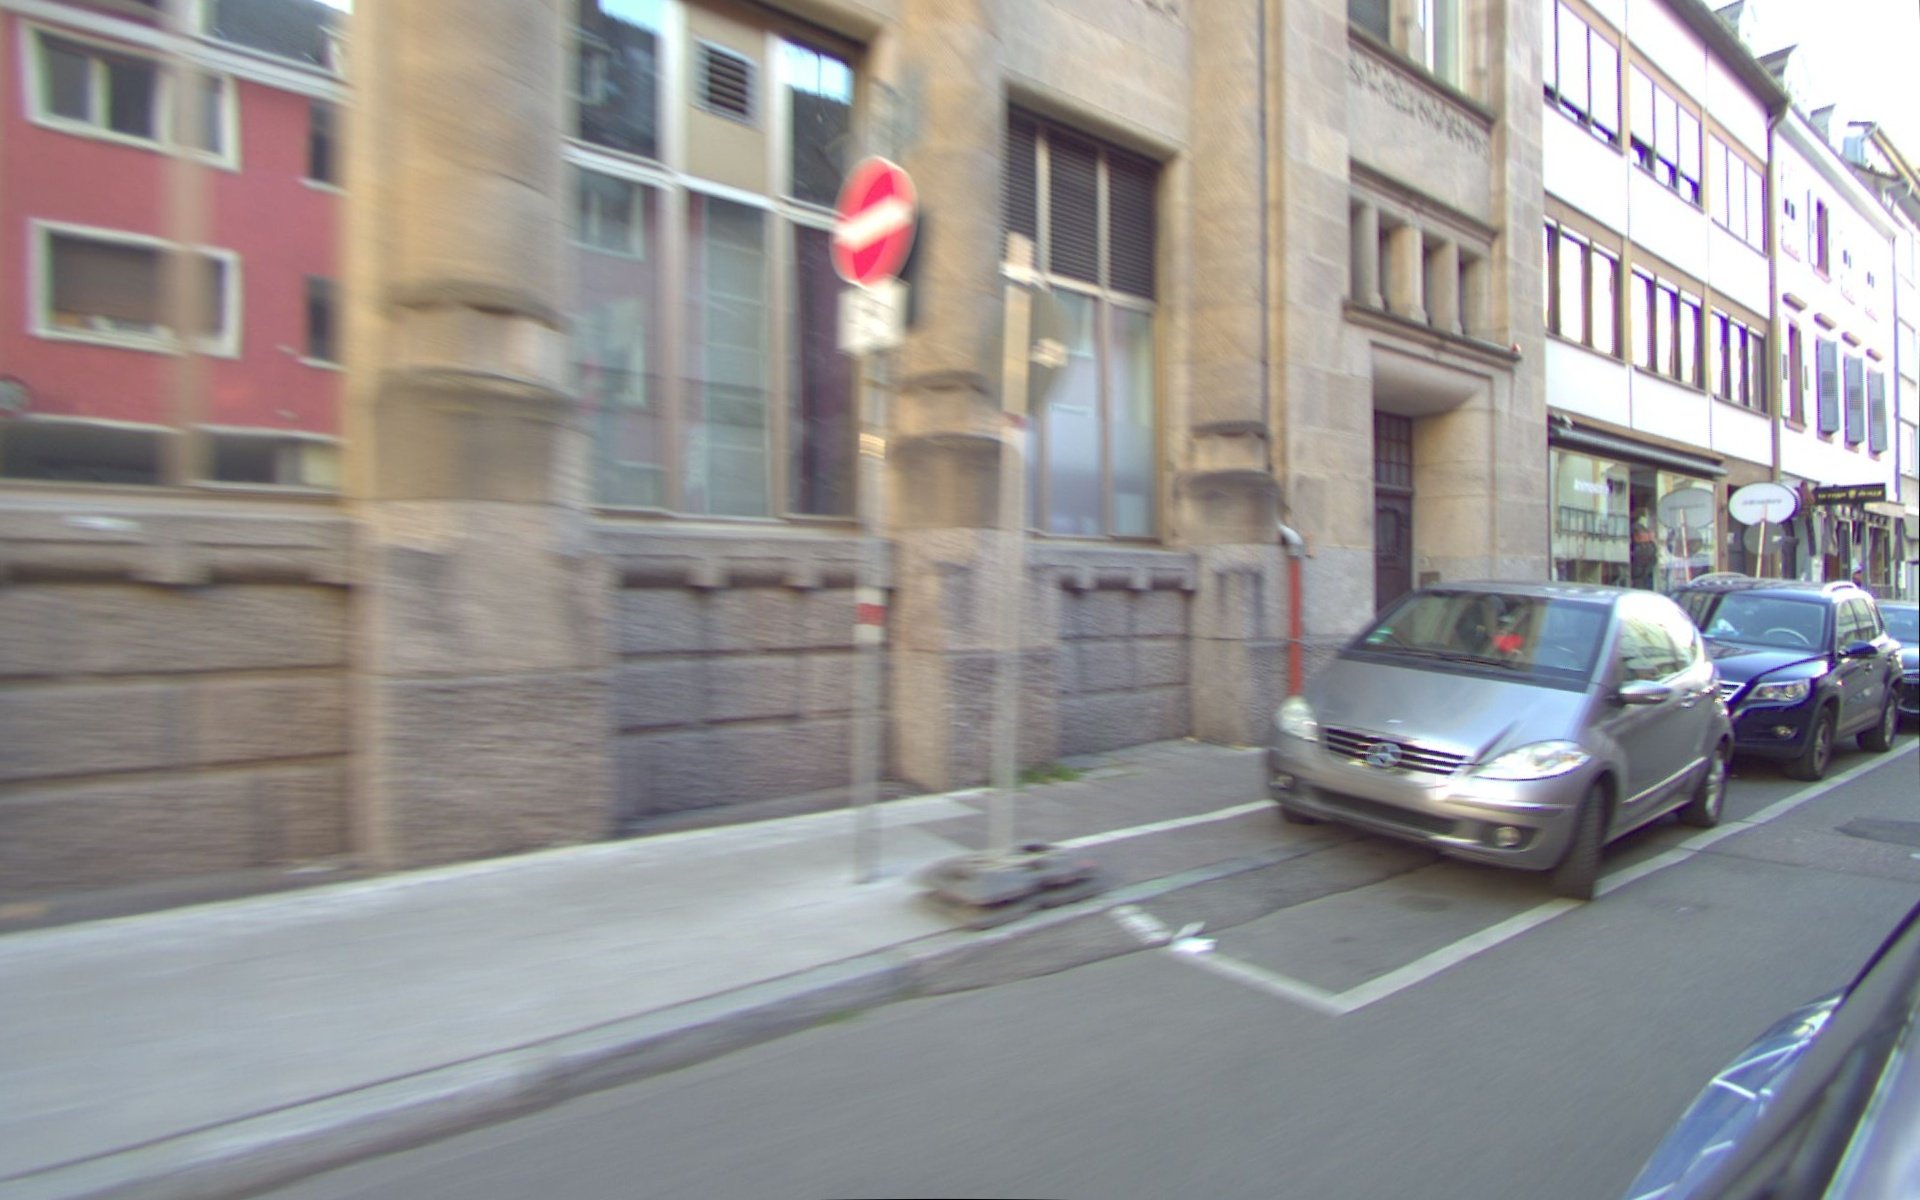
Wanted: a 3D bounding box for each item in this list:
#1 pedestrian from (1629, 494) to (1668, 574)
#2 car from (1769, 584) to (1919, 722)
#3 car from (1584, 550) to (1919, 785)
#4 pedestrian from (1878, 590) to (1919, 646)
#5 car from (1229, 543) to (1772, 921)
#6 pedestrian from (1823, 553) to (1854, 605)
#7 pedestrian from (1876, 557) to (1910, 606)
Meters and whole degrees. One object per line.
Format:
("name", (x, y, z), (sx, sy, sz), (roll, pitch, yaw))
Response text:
("pedestrian", (12.113, -1.155, 17.801), (0.417, 1.367, 0.437), (-1, -1, -41))
("car", (12.274, 0.579, 13.128), (4.899, 1.536, 1.694), (0, -1, -38))
("car", (7.869, 0.526, 9.808), (4.161, 1.829, 1.674), (0, -1, -37))
("pedestrian", (21.827, 0.402, 23.450), (0.634, 1.258, 0.736), (-1, 0, -38))
("car", (3.628, 0.576, 6.491), (3.930, 1.687, 1.776), (0, 0, -41))
("pedestrian", (21.871, -0.521, 25.191), (0.598, 1.258, 0.467), (-1, 0, -38))
("pedestrian", (24.401, -0.481, 26.464), (0.598, 1.258, 0.566), (-1, 0, -38))
